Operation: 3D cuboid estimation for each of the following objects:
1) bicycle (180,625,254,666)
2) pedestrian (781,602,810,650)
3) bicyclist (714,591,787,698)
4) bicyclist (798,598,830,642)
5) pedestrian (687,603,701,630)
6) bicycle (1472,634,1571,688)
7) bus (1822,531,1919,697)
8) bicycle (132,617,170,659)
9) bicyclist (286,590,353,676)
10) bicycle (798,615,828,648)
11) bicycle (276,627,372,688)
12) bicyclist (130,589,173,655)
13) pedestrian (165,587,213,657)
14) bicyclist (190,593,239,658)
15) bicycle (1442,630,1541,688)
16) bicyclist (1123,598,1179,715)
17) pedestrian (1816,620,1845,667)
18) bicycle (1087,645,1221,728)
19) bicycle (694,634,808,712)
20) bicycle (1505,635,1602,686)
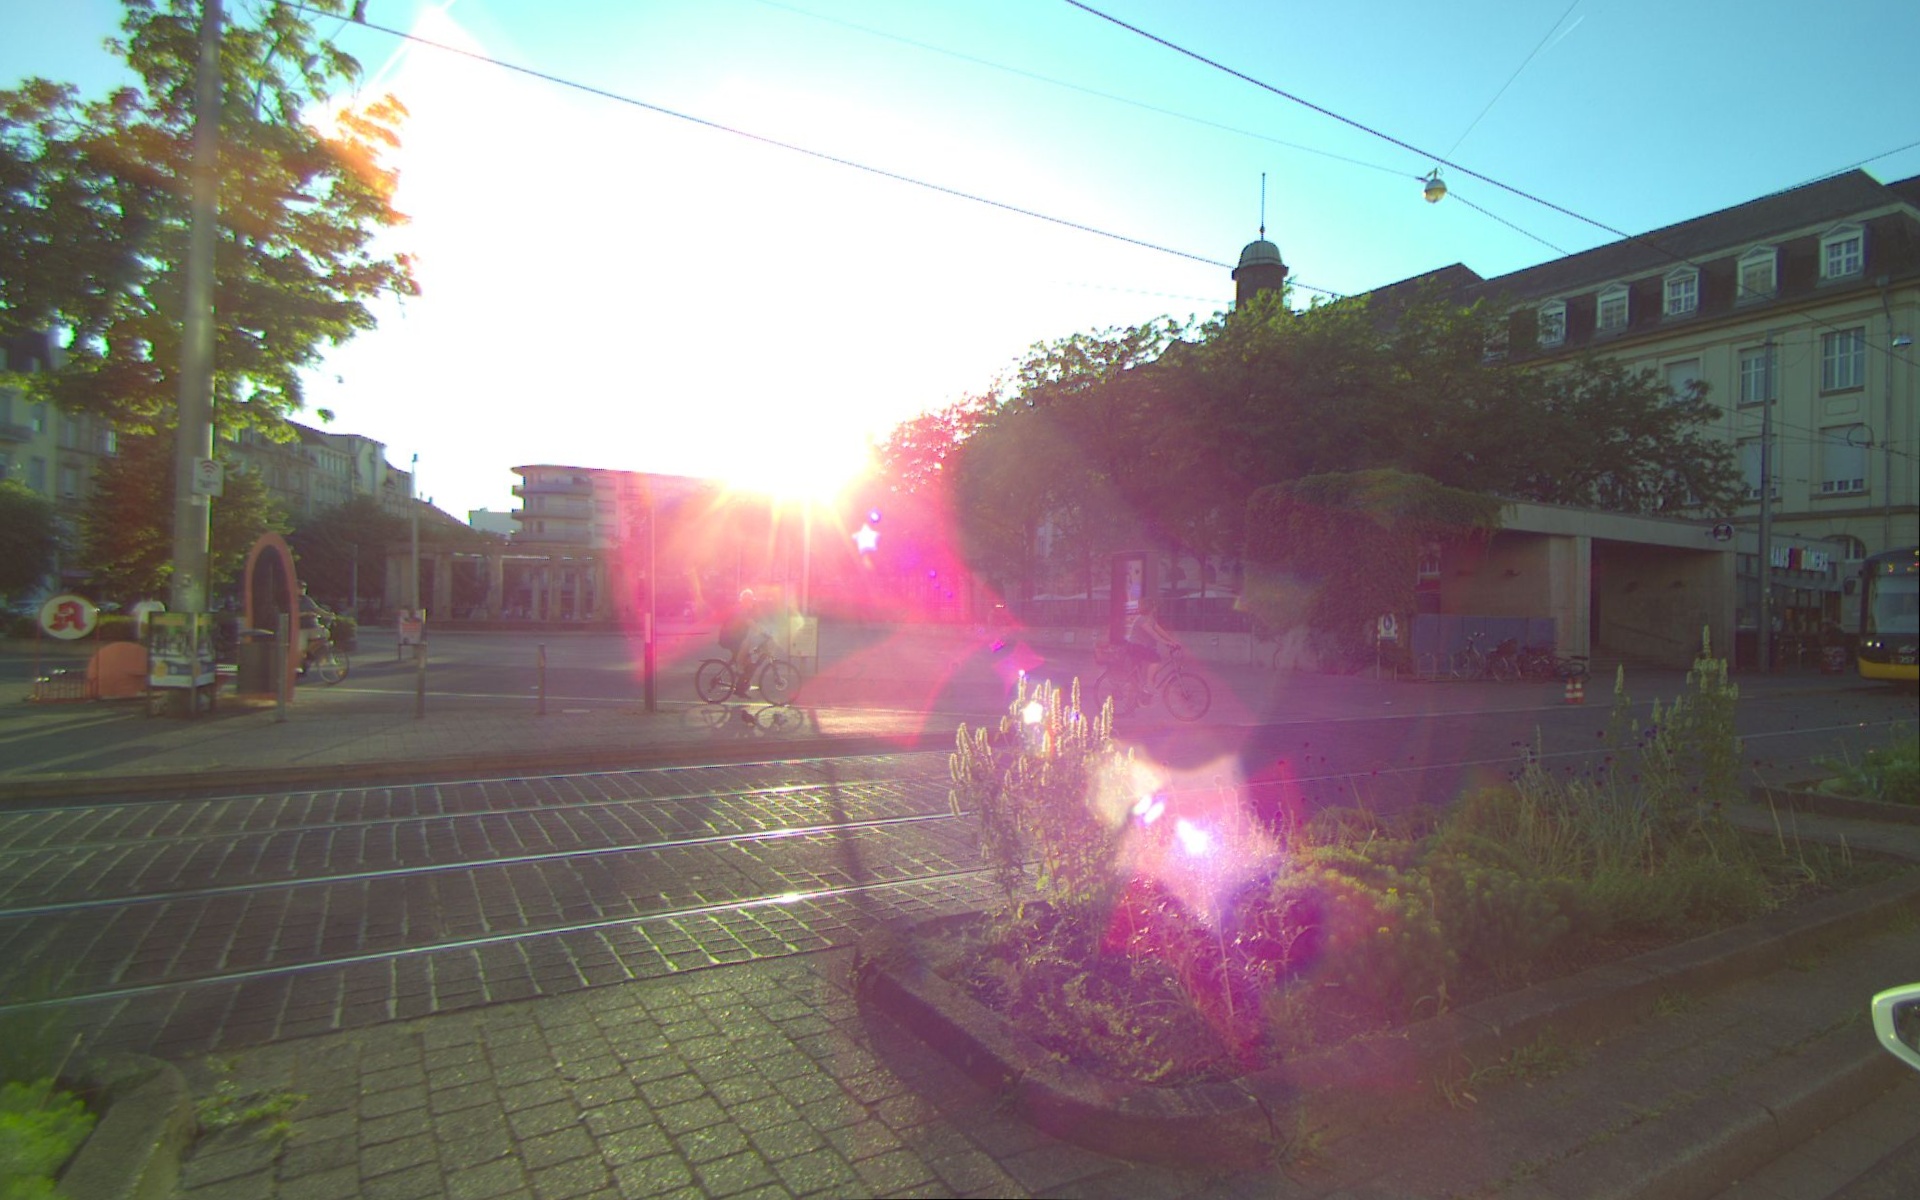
[{"bbox_3d":[-18.031,1.093,24.377,1.400,0.927,0.425,2,-2,-2],"label":"bicycle"},{"bbox_3d":[-7.289,1.141,44.451,0.922,2.088,0.931,1,0,-35],"label":"pedestrian"},{"bbox_3d":[-3.317,0.700,15.951,0.788,1.632,0.738,1,-2,29],"label":"bicyclist"},{"bbox_3d":[-6.915,0.955,47.612,1.130,2.045,0.954,3,-2,-31],"label":"bicyclist"},{"bbox_3d":[-17.745,1.101,67.048,0.758,1.801,0.570,1,0,-39],"label":"pedestrian"},{"bbox_3d":[14.306,1.534,25.676,0.573,1.271,2.231,3,-2,-29],"label":"bicycle"},{"bbox_3d":[28.522,0.495,27.038,16.872,3.699,2.809,1,-1,-31],"label":"bus"},{"bbox_3d":[-18.937,0.881,23.542,0.420,0.927,1.518,3,-2,-30],"label":"bicycle"},{"bbox_3d":[-12.369,0.643,19.425,0.688,1.597,0.755,2,-2,12],"label":"bicyclist"},{"bbox_3d":[-6.977,1.486,47.613,0.573,1.495,2.230,2,-2,-31],"label":"bicycle"},{"bbox_3d":[-12.293,1.099,19.416,1.676,1.126,0.496,0,-2,12],"label":"bicycle"},{"bbox_3d":[-18.996,0.512,23.622,0.669,1.540,0.652,1,0,-30],"label":"bicyclist"},{"bbox_3d":[-19.190,0.560,25.025,0.646,1.698,0.675,3,-2,-15],"label":"pedestrian"},{"bbox_3d":[-18.063,0.622,24.351,0.644,1.540,0.677,1,0,-3],"label":"bicyclist"},{"bbox_3d":[13.073,1.430,24.795,0.573,1.317,2.187,3,-2,-29],"label":"bicycle"},{"bbox_3d":[2.875,0.845,15.090,0.690,1.690,0.628,2,-2,18],"label":"bicyclist"},{"bbox_3d":[31.789,1.571,36.687,0.705,1.667,0.657,2,0,38],"label":"pedestrian"},{"bbox_3d":[2.908,1.274,15.072,1.898,1.126,0.461,1,-2,20],"label":"bicycle"},{"bbox_3d":[-3.324,1.132,15.908,1.893,1.126,0.460,1,-2,29],"label":"bicycle"},{"bbox_3d":[15.677,1.582,26.607,0.578,1.248,2.231,2,-2,-29],"label":"bicycle"}]
